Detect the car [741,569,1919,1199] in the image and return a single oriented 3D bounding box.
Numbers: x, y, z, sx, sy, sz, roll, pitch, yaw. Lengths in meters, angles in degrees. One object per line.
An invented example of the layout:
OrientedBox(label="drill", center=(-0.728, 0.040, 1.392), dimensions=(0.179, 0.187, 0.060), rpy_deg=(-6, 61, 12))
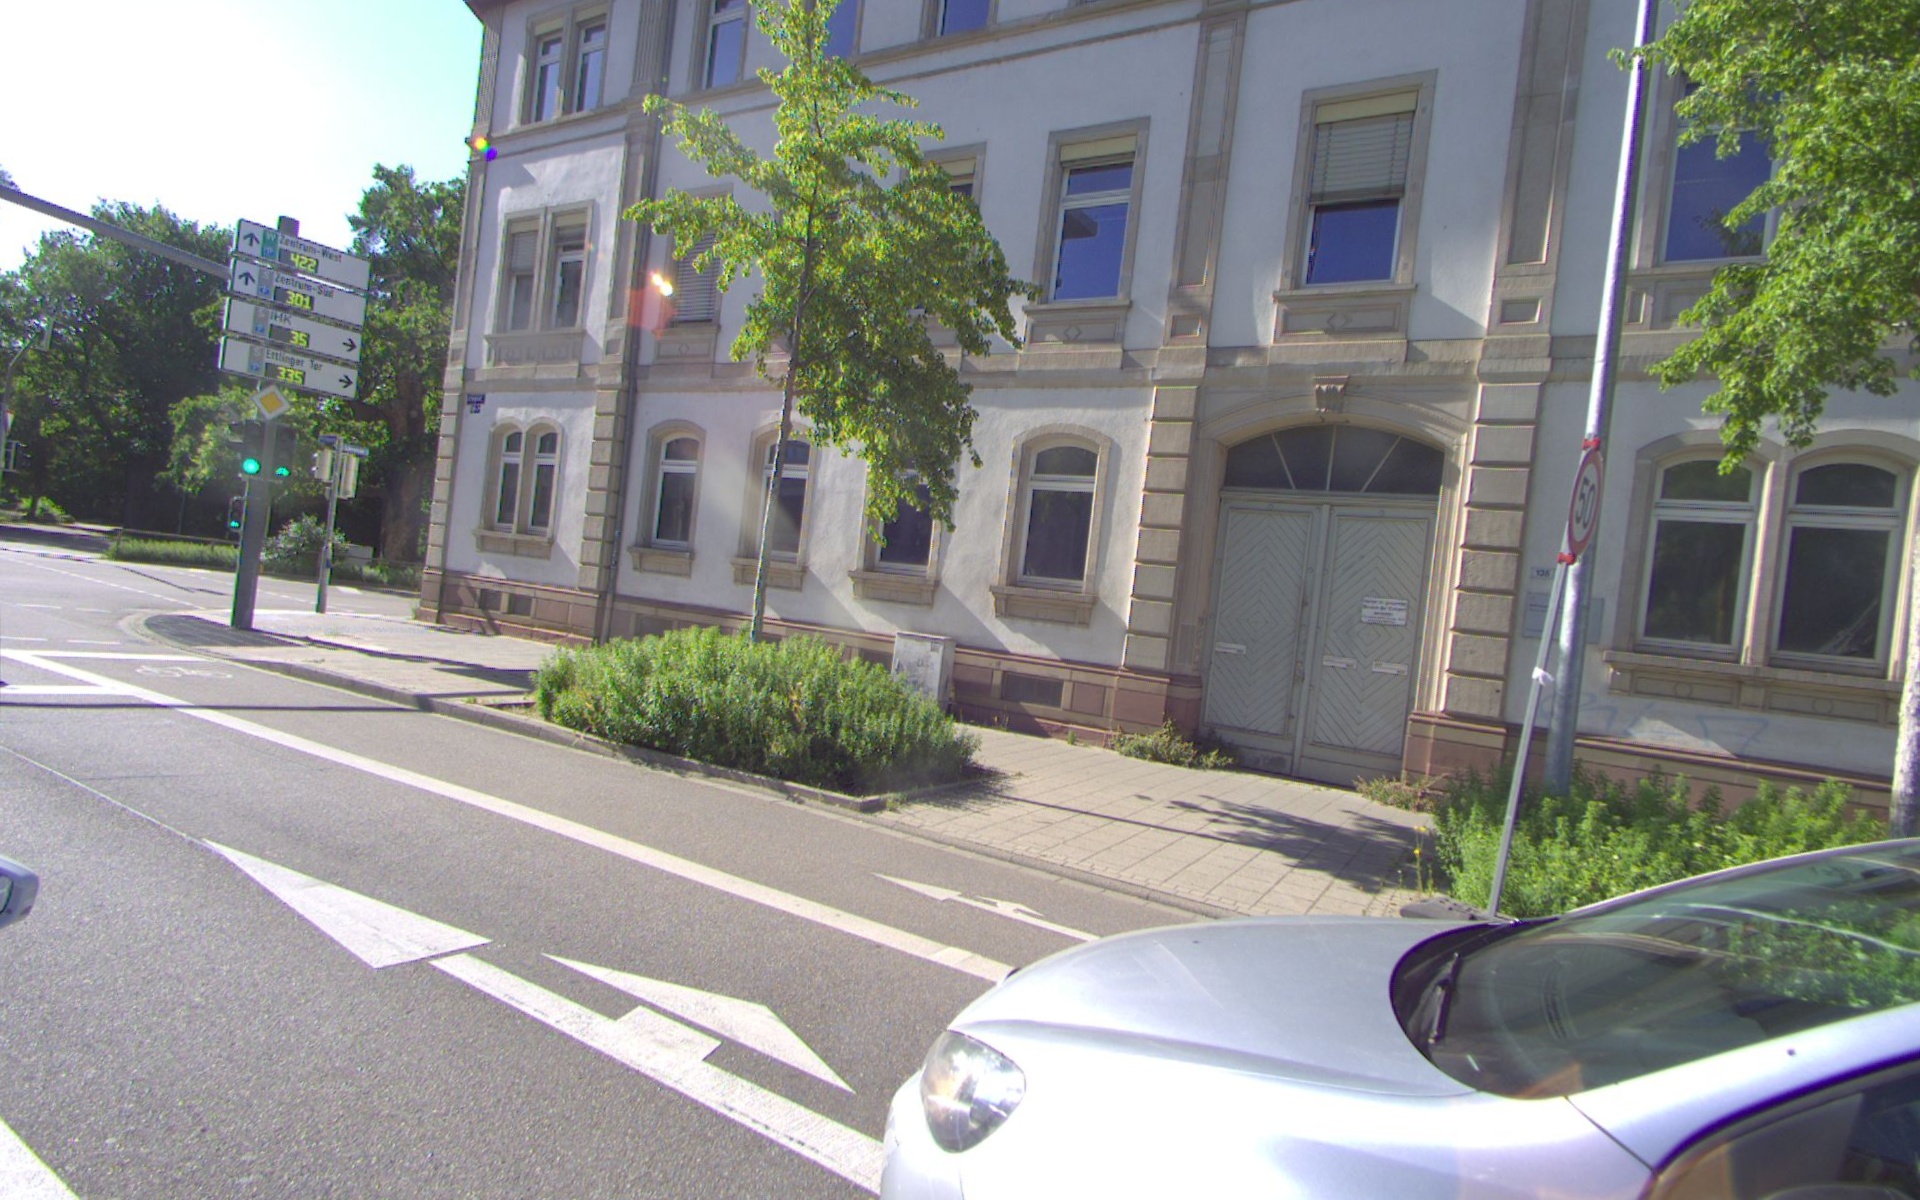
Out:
OrientedBox(label="car", center=(1.763, 0.992, 1.467), dimensions=(3.939, 1.545, 1.753), rpy_deg=(7, -2, 32))
